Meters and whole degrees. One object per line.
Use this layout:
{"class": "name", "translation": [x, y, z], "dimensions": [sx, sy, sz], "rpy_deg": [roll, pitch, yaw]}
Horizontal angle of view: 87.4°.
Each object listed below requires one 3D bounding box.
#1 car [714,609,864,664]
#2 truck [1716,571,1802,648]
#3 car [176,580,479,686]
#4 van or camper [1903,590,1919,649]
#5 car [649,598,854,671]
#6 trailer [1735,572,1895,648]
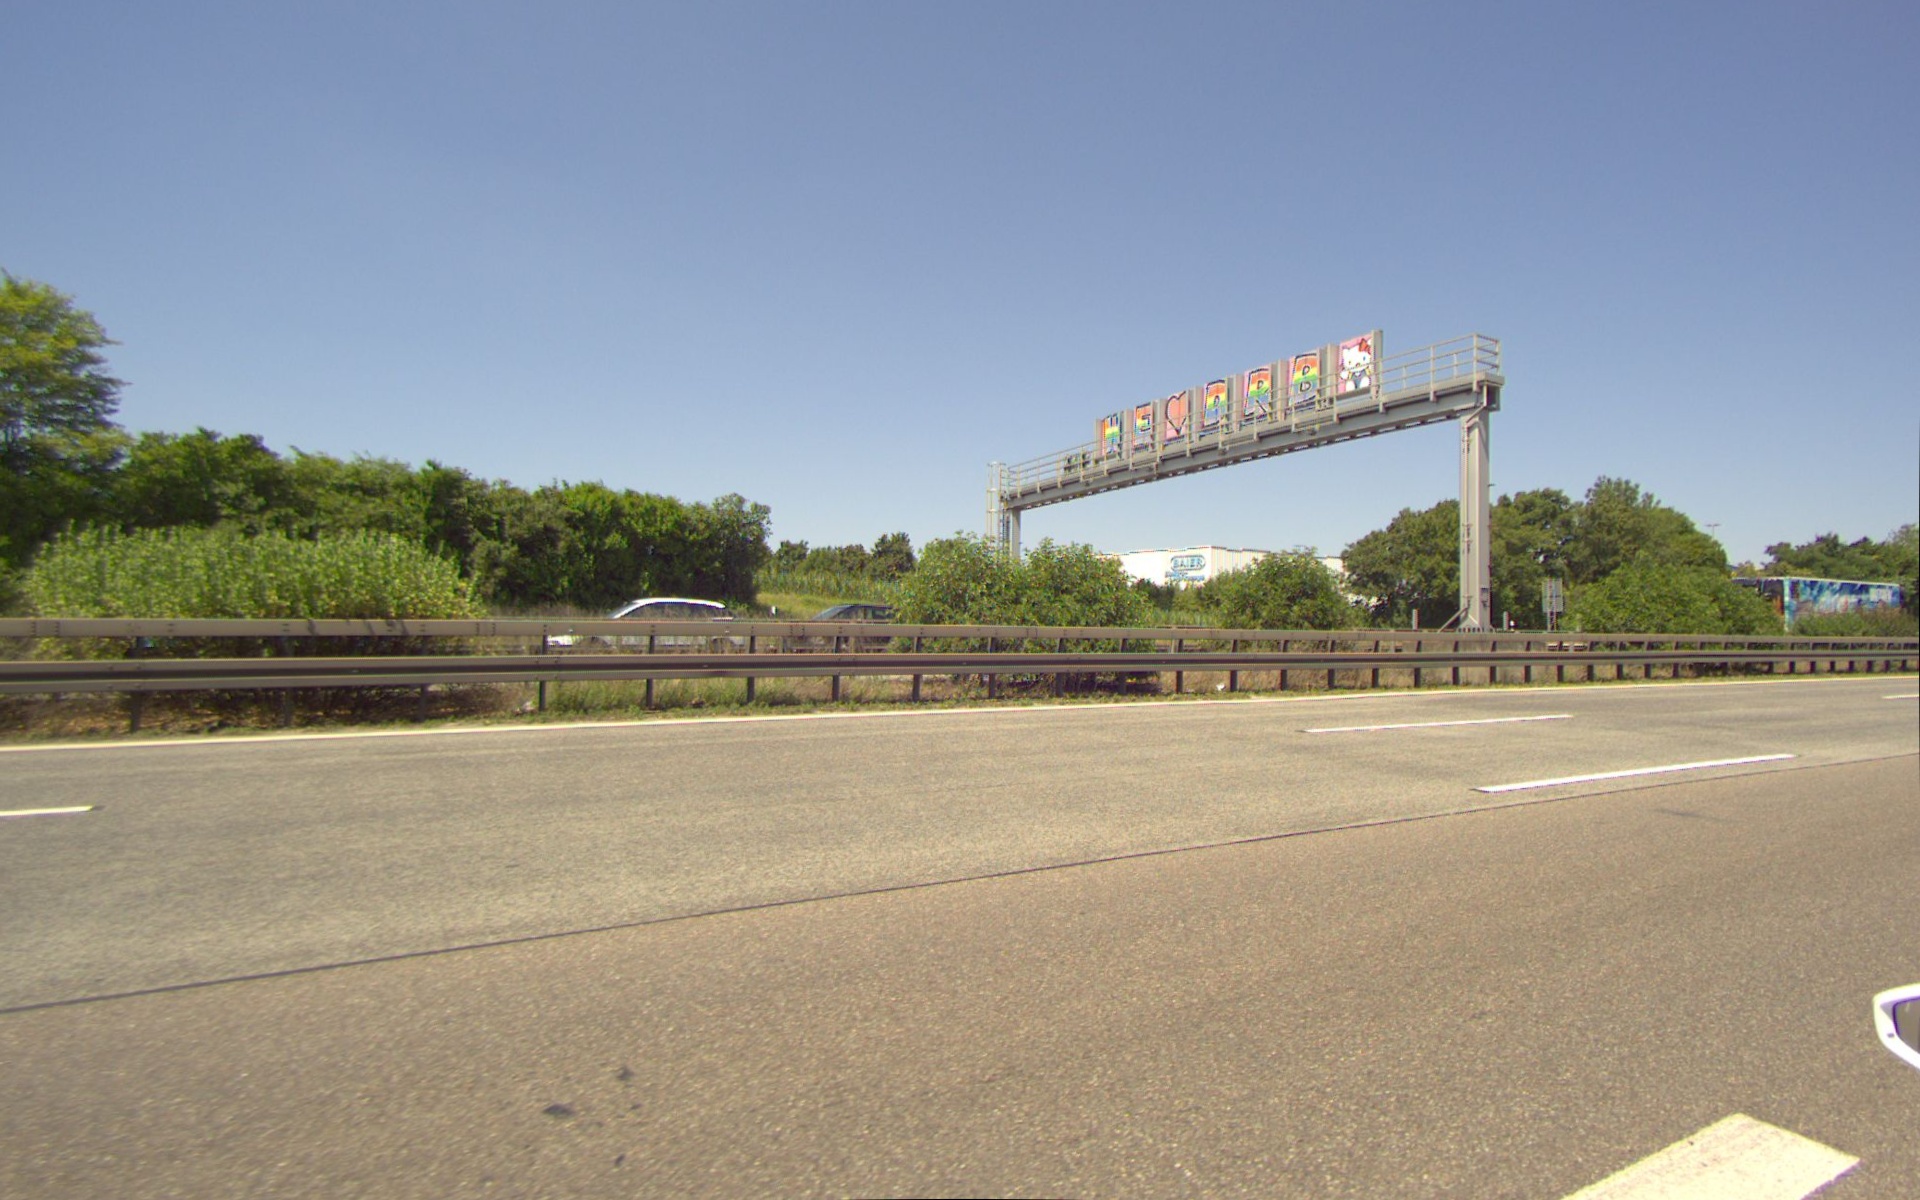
{"class": "car", "translation": [-5.049, 1.065, 29.737], "dimensions": [4.002, 1.507, 1.813], "rpy_deg": [1, 0, -30]}
{"class": "truck", "translation": [42.518, 0.550, 53.456], "dimensions": [4.286, 3.948, 1.986], "rpy_deg": [1, 0, -28]}
{"class": "car", "translation": [-9.907, 0.505, 16.049], "dimensions": [3.872, 1.507, 1.813], "rpy_deg": [1, 0, -30]}
{"class": "van or camper", "translation": [57.012, 1.185, 57.290], "dimensions": [7.727, 3.263, 2.464], "rpy_deg": [1, 0, -29]}
{"class": "car", "translation": [-4.702, 0.759, 22.795], "dimensions": [4.205, 1.507, 1.813], "rpy_deg": [1, 0, -30]}
{"class": "trailer", "translation": [48.422, 0.678, 56.647], "dimensions": [13.827, 3.975, 1.985], "rpy_deg": [1, 0, -28]}
